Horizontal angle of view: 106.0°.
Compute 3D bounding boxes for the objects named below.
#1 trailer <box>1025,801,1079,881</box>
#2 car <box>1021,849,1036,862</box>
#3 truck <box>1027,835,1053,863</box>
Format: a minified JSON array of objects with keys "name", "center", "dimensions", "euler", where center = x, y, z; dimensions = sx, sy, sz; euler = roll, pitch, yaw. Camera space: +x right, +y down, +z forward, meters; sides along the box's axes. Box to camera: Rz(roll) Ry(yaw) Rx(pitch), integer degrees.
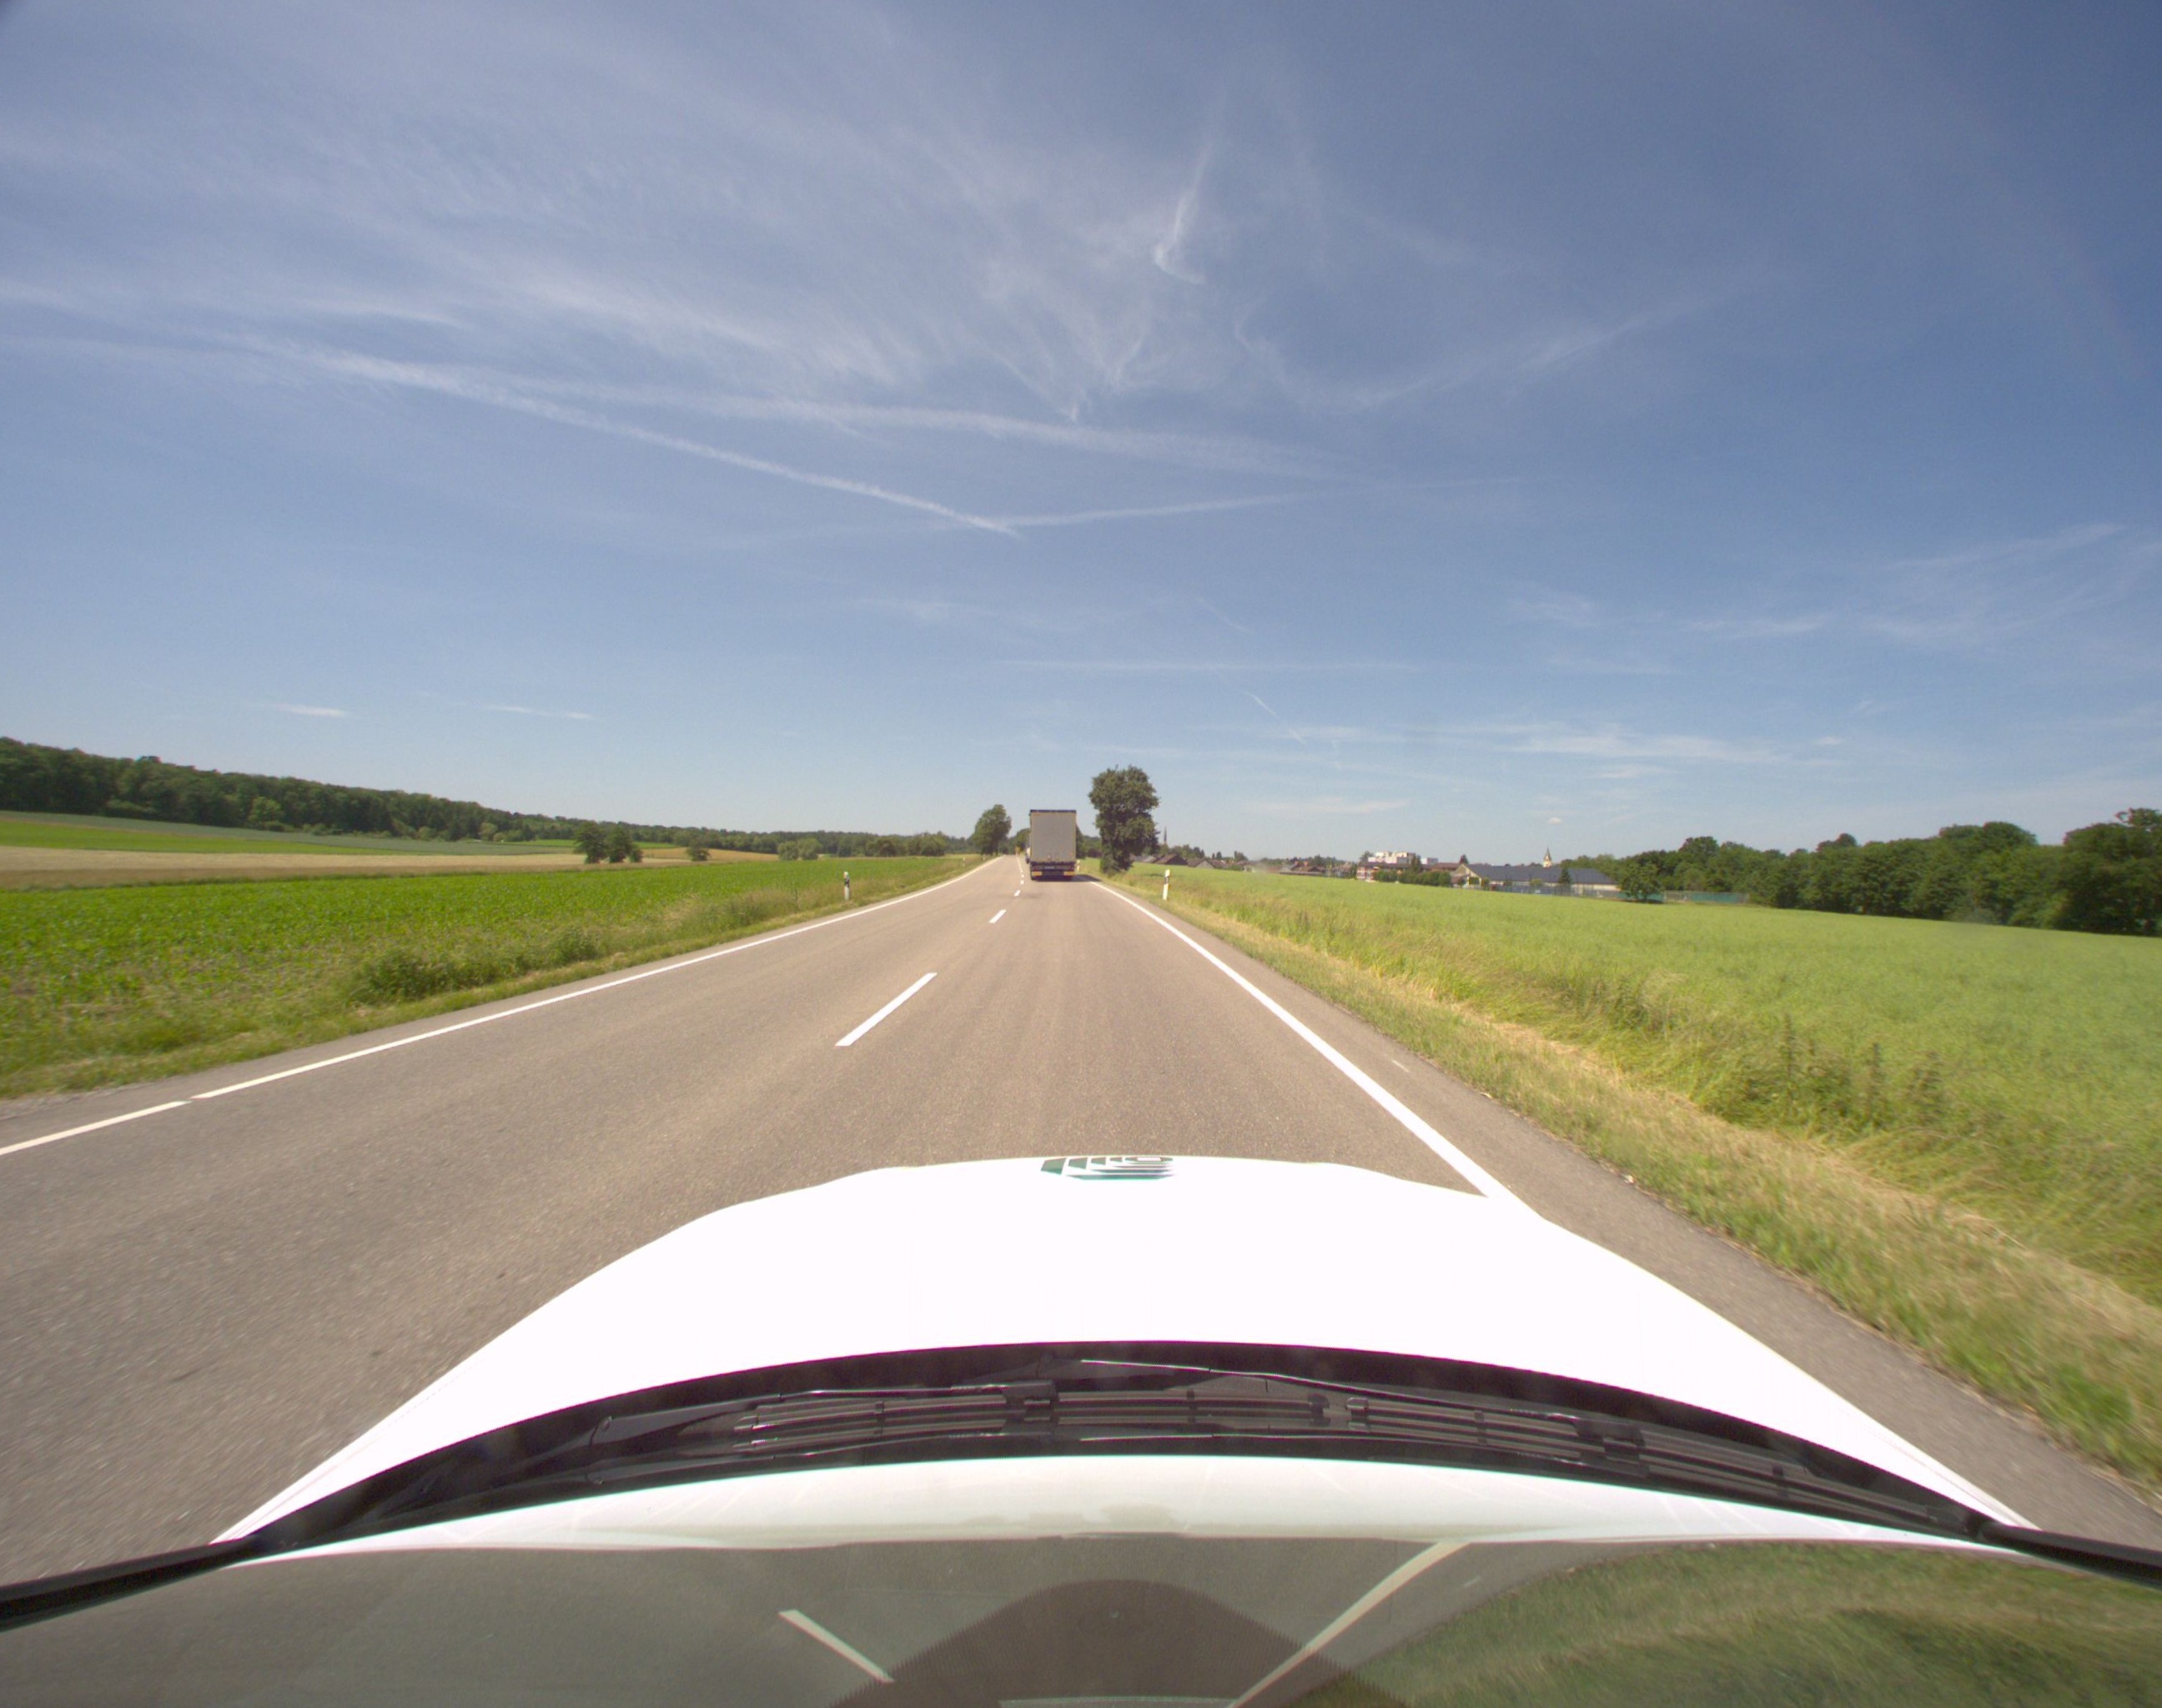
[{"name":"trailer","center":[-2.036,-0.734,51.190],"dimensions":[2.862,4.400,13.472],"euler":[0,0,-4]},{"name":"car","center":[-7.494,0.254,116.840],"dimensions":[1.718,1.873,4.003],"euler":[-1,0,3]},{"name":"truck","center":[-6.978,-0.802,141.522],"dimensions":[3.538,4.392,18.117],"euler":[0,0,0]}]
